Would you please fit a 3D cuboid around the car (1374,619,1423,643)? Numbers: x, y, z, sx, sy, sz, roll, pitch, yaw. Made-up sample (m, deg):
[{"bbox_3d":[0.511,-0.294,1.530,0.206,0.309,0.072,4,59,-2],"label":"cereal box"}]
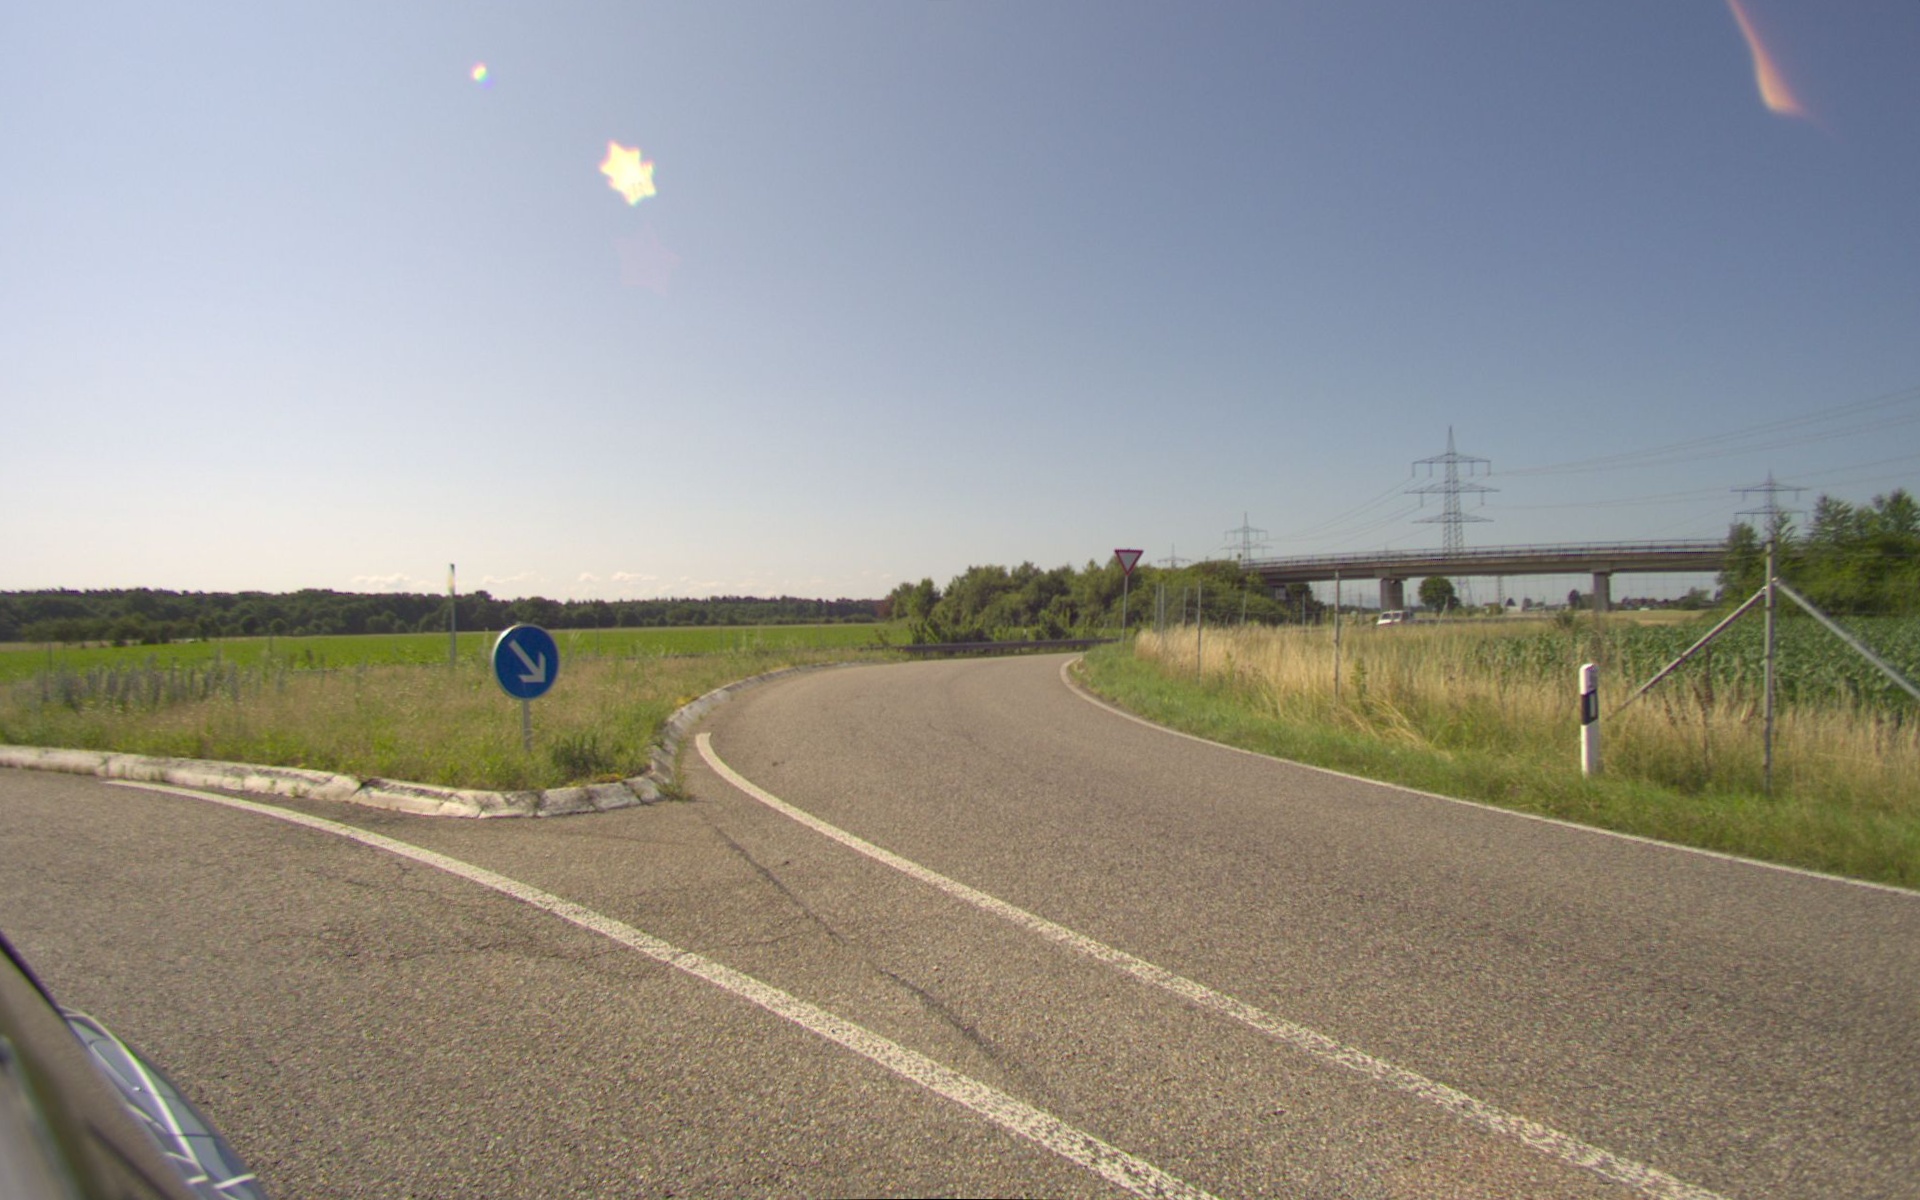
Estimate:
[{"bbox_3d":[34.135,2.370,78.687,2.100,1.652,5.283,-2,0,39],"label":"car"}]
